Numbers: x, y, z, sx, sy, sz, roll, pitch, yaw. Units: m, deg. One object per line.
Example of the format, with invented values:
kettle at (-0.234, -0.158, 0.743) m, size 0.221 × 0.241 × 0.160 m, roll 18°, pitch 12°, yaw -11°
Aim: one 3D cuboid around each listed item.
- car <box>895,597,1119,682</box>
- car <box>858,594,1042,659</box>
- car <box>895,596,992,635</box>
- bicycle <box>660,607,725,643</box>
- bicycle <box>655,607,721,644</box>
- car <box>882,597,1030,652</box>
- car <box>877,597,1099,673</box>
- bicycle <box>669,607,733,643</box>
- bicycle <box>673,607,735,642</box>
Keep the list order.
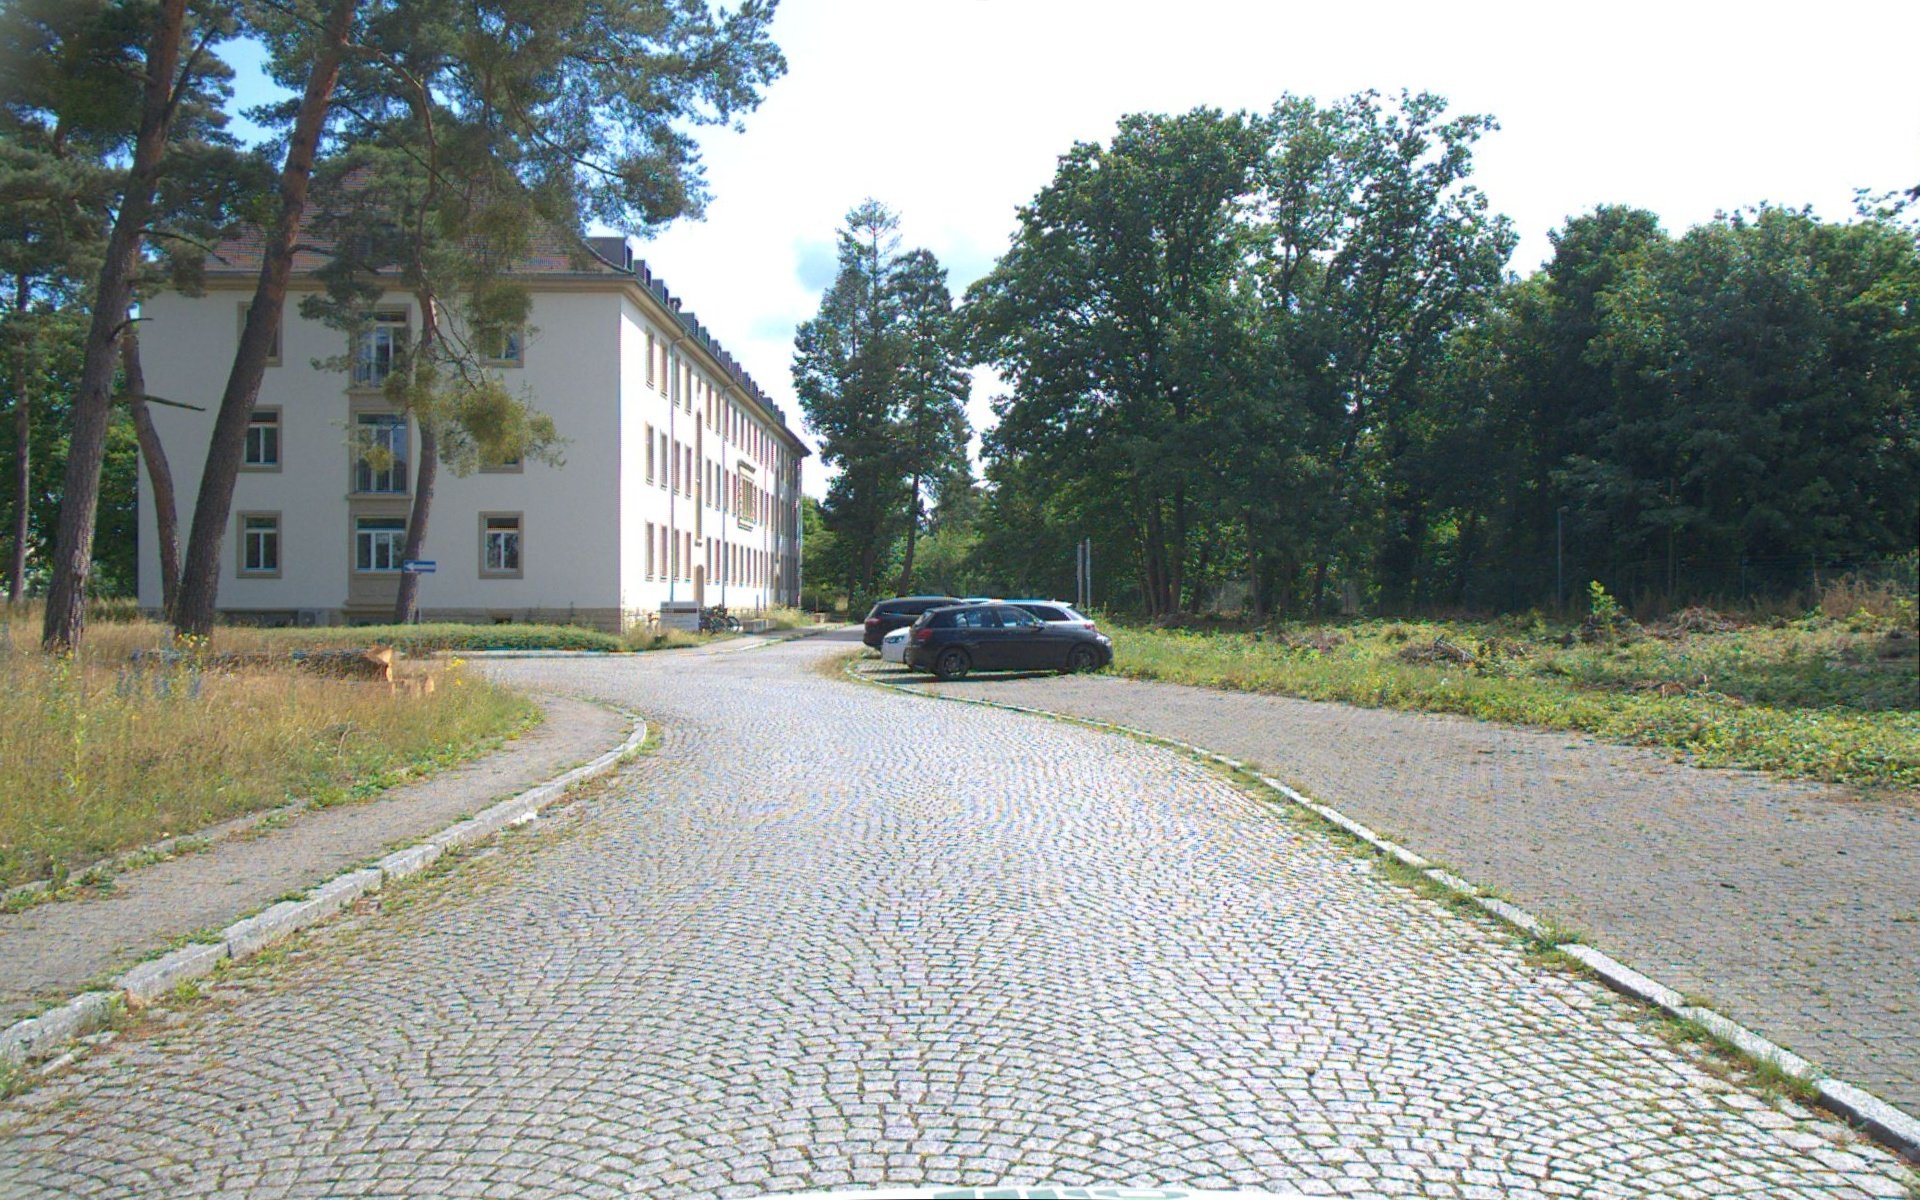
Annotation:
car at (0.918, 0.770, 33.375) m, size 4.244 × 1.526 × 1.826 m, roll -2°, pitch 1°, yaw -9°
car at (-0.283, 0.701, 43.903) m, size 4.755 × 1.580 × 1.879 m, roll -1°, pitch -1°, yaw -2°
car at (-0.687, 0.662, 72.027) m, size 4.100 × 1.570 × 1.820 m, roll -1°, pitch -1°, yaw 1°
bicycle at (-9.537, 0.884, 58.971) m, size 2.176 × 1.282 × 0.623 m, roll 0°, pitch 0°, yaw 1°
bicycle at (-9.562, 0.891, 58.126) m, size 2.175 × 1.282 × 0.623 m, roll 0°, pitch 0°, yaw 5°
car at (-0.139, 0.732, 49.277) m, size 4.310 × 1.510 × 1.765 m, roll -1°, pitch -1°, yaw -2°
car at (0.585, 0.747, 36.565) m, size 4.764 × 1.498 × 1.874 m, roll -1°, pitch 1°, yaw -2°
bicycle at (-9.374, 0.896, 59.869) m, size 2.175 × 1.282 × 0.623 m, roll 0°, pitch 0°, yaw 5°
bicycle at (-9.392, 0.889, 60.713) m, size 2.176 × 1.282 × 0.623 m, roll 0°, pitch 0°, yaw 1°
